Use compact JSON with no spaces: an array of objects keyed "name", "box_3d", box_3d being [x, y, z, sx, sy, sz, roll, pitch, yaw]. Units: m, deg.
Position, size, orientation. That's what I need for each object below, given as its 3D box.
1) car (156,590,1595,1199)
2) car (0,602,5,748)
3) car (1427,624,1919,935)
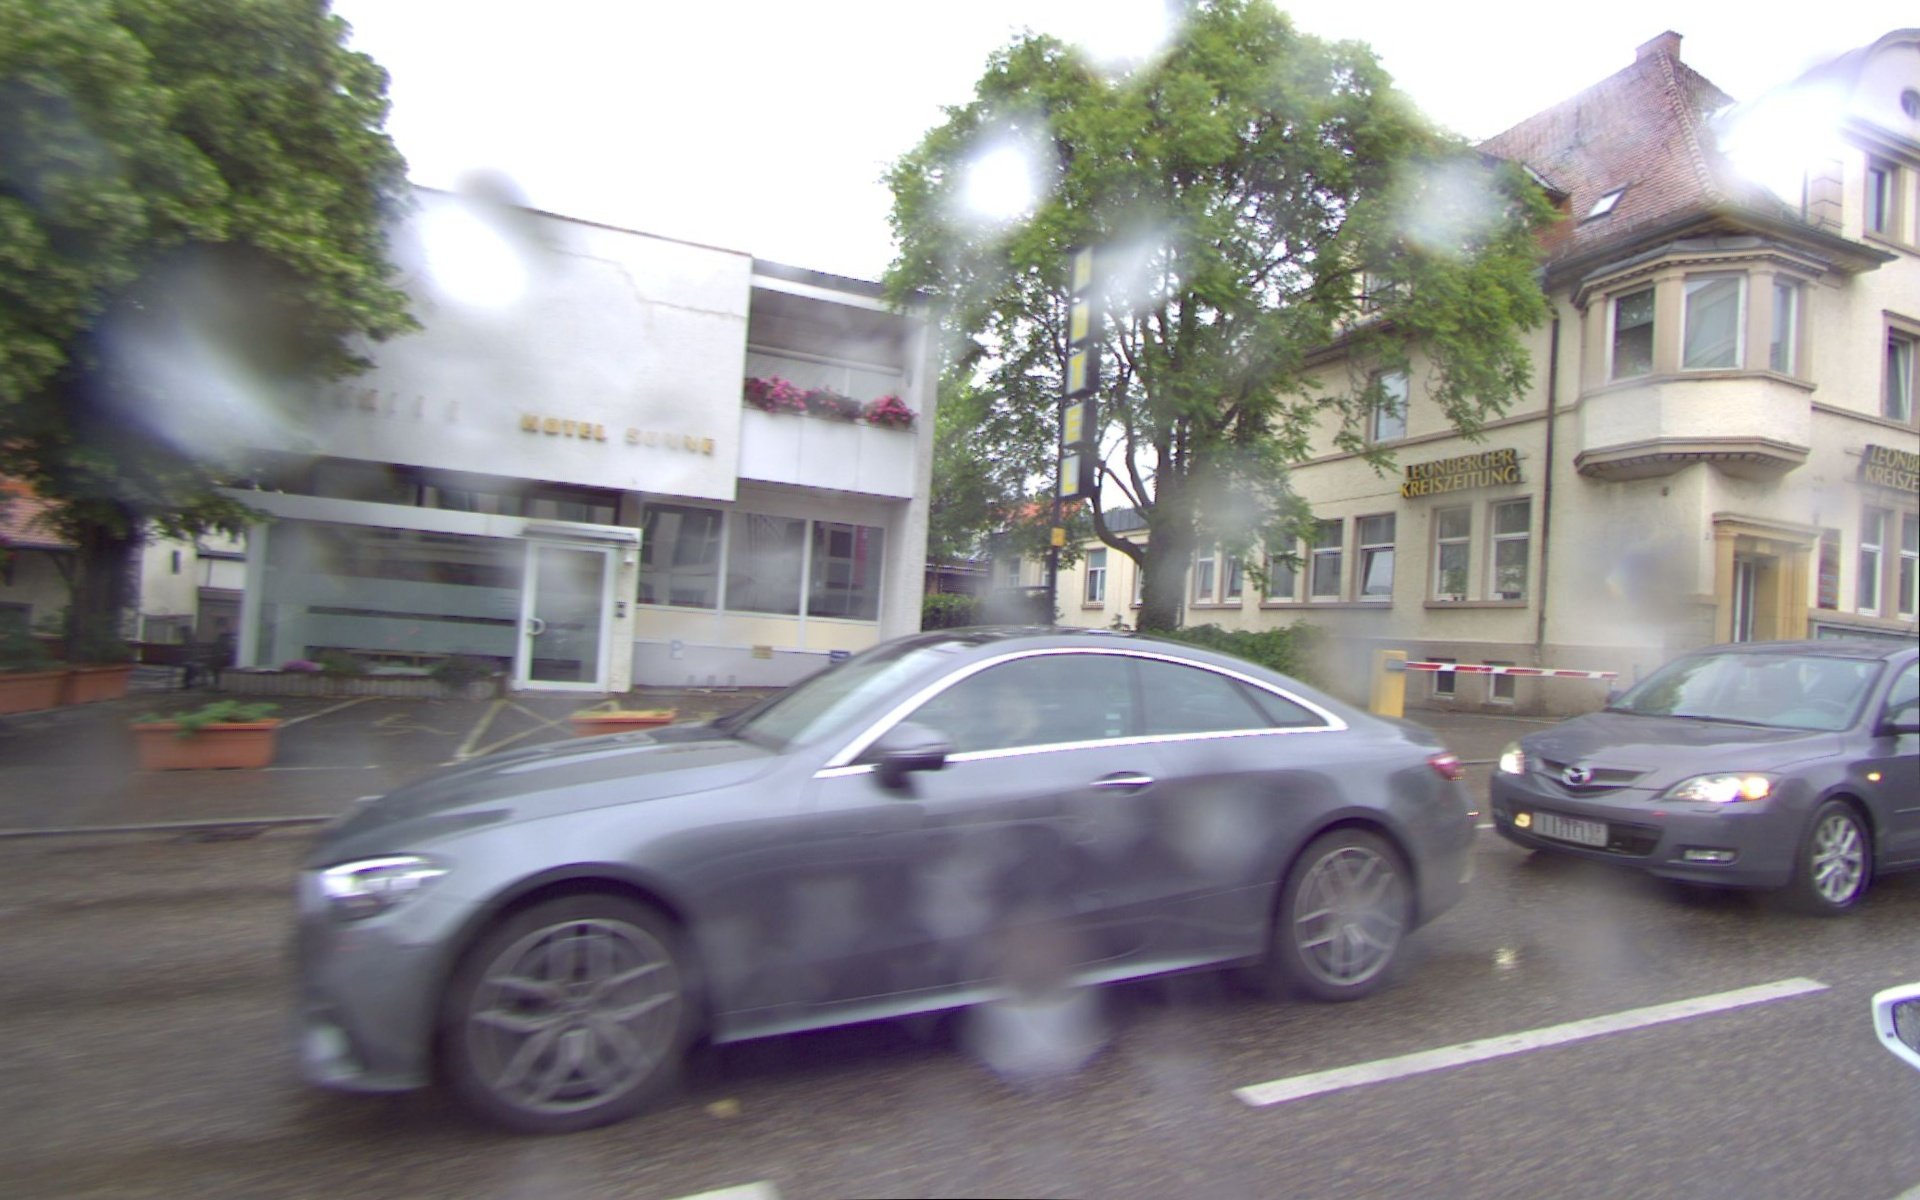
[{"name":"car","box_3d":[0.054,0.782,4.215,4.944,1.460,1.937,2,-1,-23]},{"name":"car","box_3d":[-7.508,0.635,4.690,4.001,1.372,1.734,2,-1,-23]},{"name":"car","box_3d":[5.503,0.952,6.547,4.621,1.458,1.795,2,-1,-22]}]
